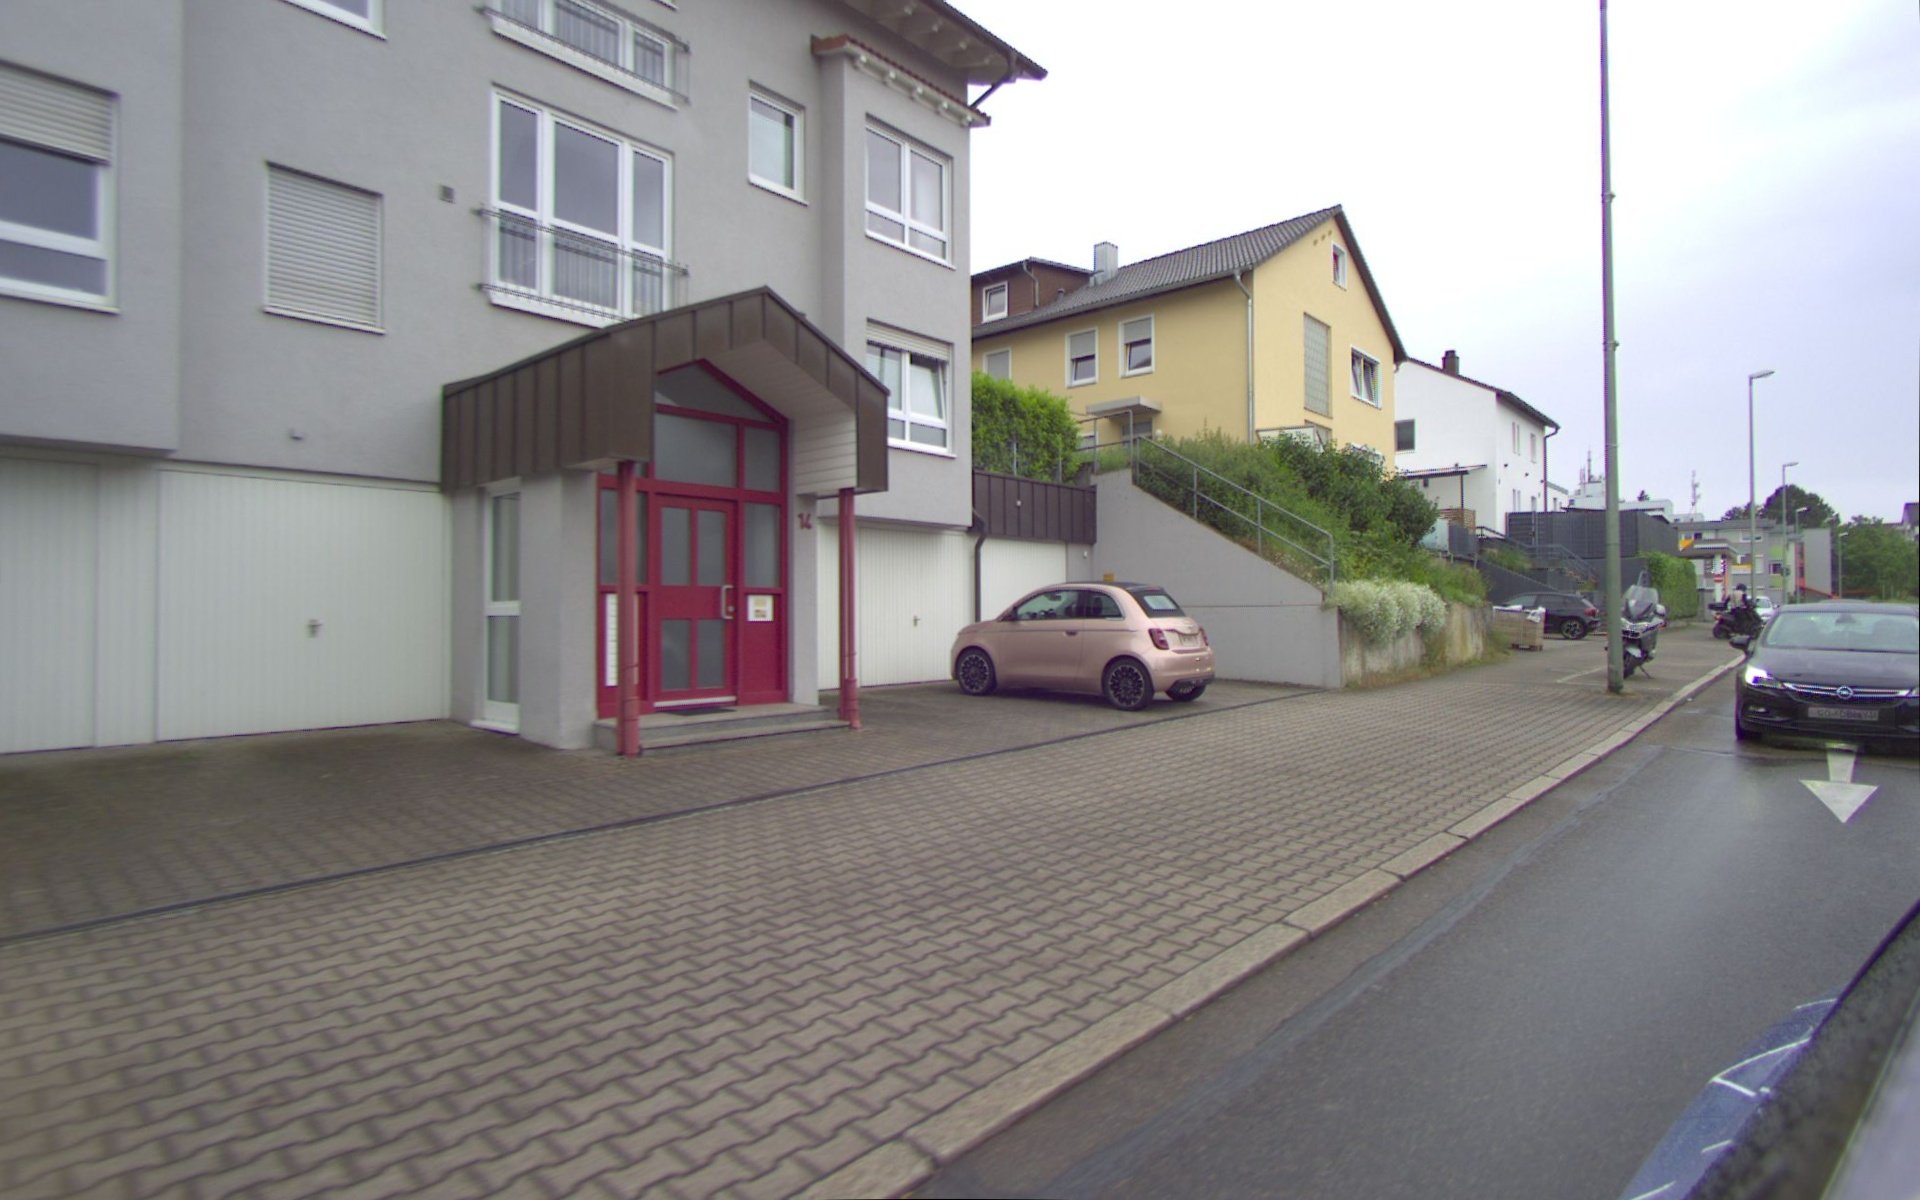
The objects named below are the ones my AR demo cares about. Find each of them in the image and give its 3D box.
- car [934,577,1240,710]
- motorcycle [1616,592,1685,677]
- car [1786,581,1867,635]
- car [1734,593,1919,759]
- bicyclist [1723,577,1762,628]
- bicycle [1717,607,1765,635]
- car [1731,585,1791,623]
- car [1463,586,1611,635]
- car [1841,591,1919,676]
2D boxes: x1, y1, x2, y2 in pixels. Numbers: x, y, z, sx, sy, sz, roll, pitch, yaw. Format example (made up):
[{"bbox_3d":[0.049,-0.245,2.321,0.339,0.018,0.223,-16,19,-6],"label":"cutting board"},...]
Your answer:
[{"bbox_3d":[1.603,0.476,13.303,3.625,1.504,1.787,0,0,39],"label":"car"},{"bbox_3d":[11.819,0.536,17.282,0.691,1.341,2.442,1,1,41],"label":"motorcycle"},{"bbox_3d":[27.764,0.265,32.379,1.835,1.476,3.937,1,-3,43],"label":"car"},{"bbox_3d":[9.711,0.678,10.811,1.836,1.415,3.936,1,2,44],"label":"car"},{"bbox_3d":[25.997,0.065,33.630,0.889,1.663,0.809,0,1,-38],"label":"bicyclist"},{"bbox_3d":[25.936,0.688,33.591,2.193,0.837,0.733,0,1,-38],"label":"bicycle"},{"bbox_3d":[34.146,0.142,43.104,1.732,1.508,3.938,1,1,43],"label":"car"},{"bbox_3d":[18.425,0.282,32.381,3.976,1.420,1.652,1,1,37],"label":"car"},{"bbox_3d":[17.646,0.627,18.720,1.905,1.416,4.781,1,-1,43],"label":"car"}]
